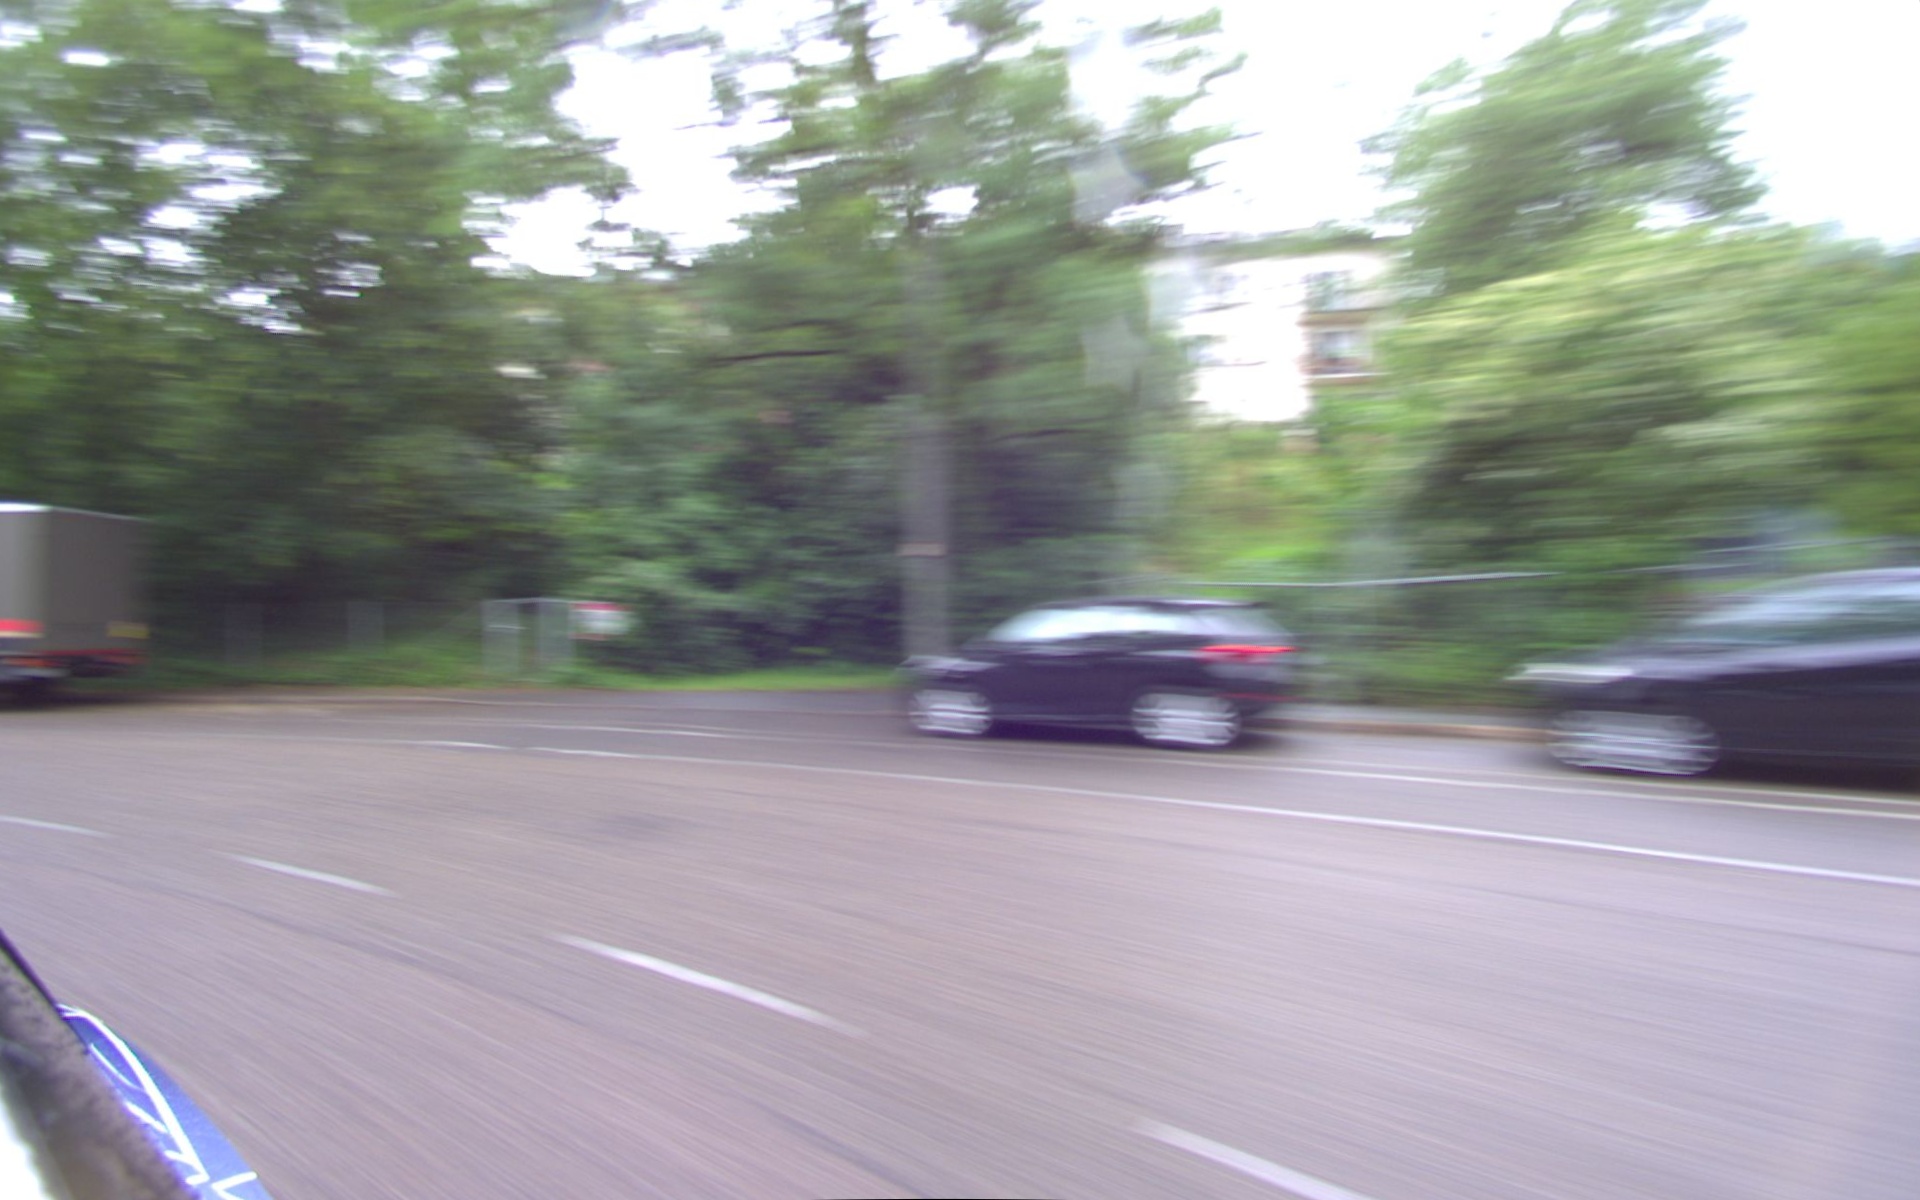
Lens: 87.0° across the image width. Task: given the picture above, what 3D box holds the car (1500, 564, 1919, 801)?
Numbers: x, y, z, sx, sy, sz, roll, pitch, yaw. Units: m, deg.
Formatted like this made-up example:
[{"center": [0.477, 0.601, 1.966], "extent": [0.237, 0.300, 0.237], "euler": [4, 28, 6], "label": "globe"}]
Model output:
[{"center": [6.275, 0.486, 6.915], "extent": [1.886, 1.422, 4.136], "euler": [-2, -1, -43], "label": "car"}]

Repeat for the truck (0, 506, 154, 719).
[{"center": [-16.451, 0.223, 15.839], "extent": [5.865, 3.083, 2.231], "euler": [0, -3, 1], "label": "truck"}]

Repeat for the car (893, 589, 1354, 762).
[{"center": [1.639, 0.702, 10.661], "extent": [4.358, 1.474, 1.978], "euler": [-2, -1, 33], "label": "car"}]
